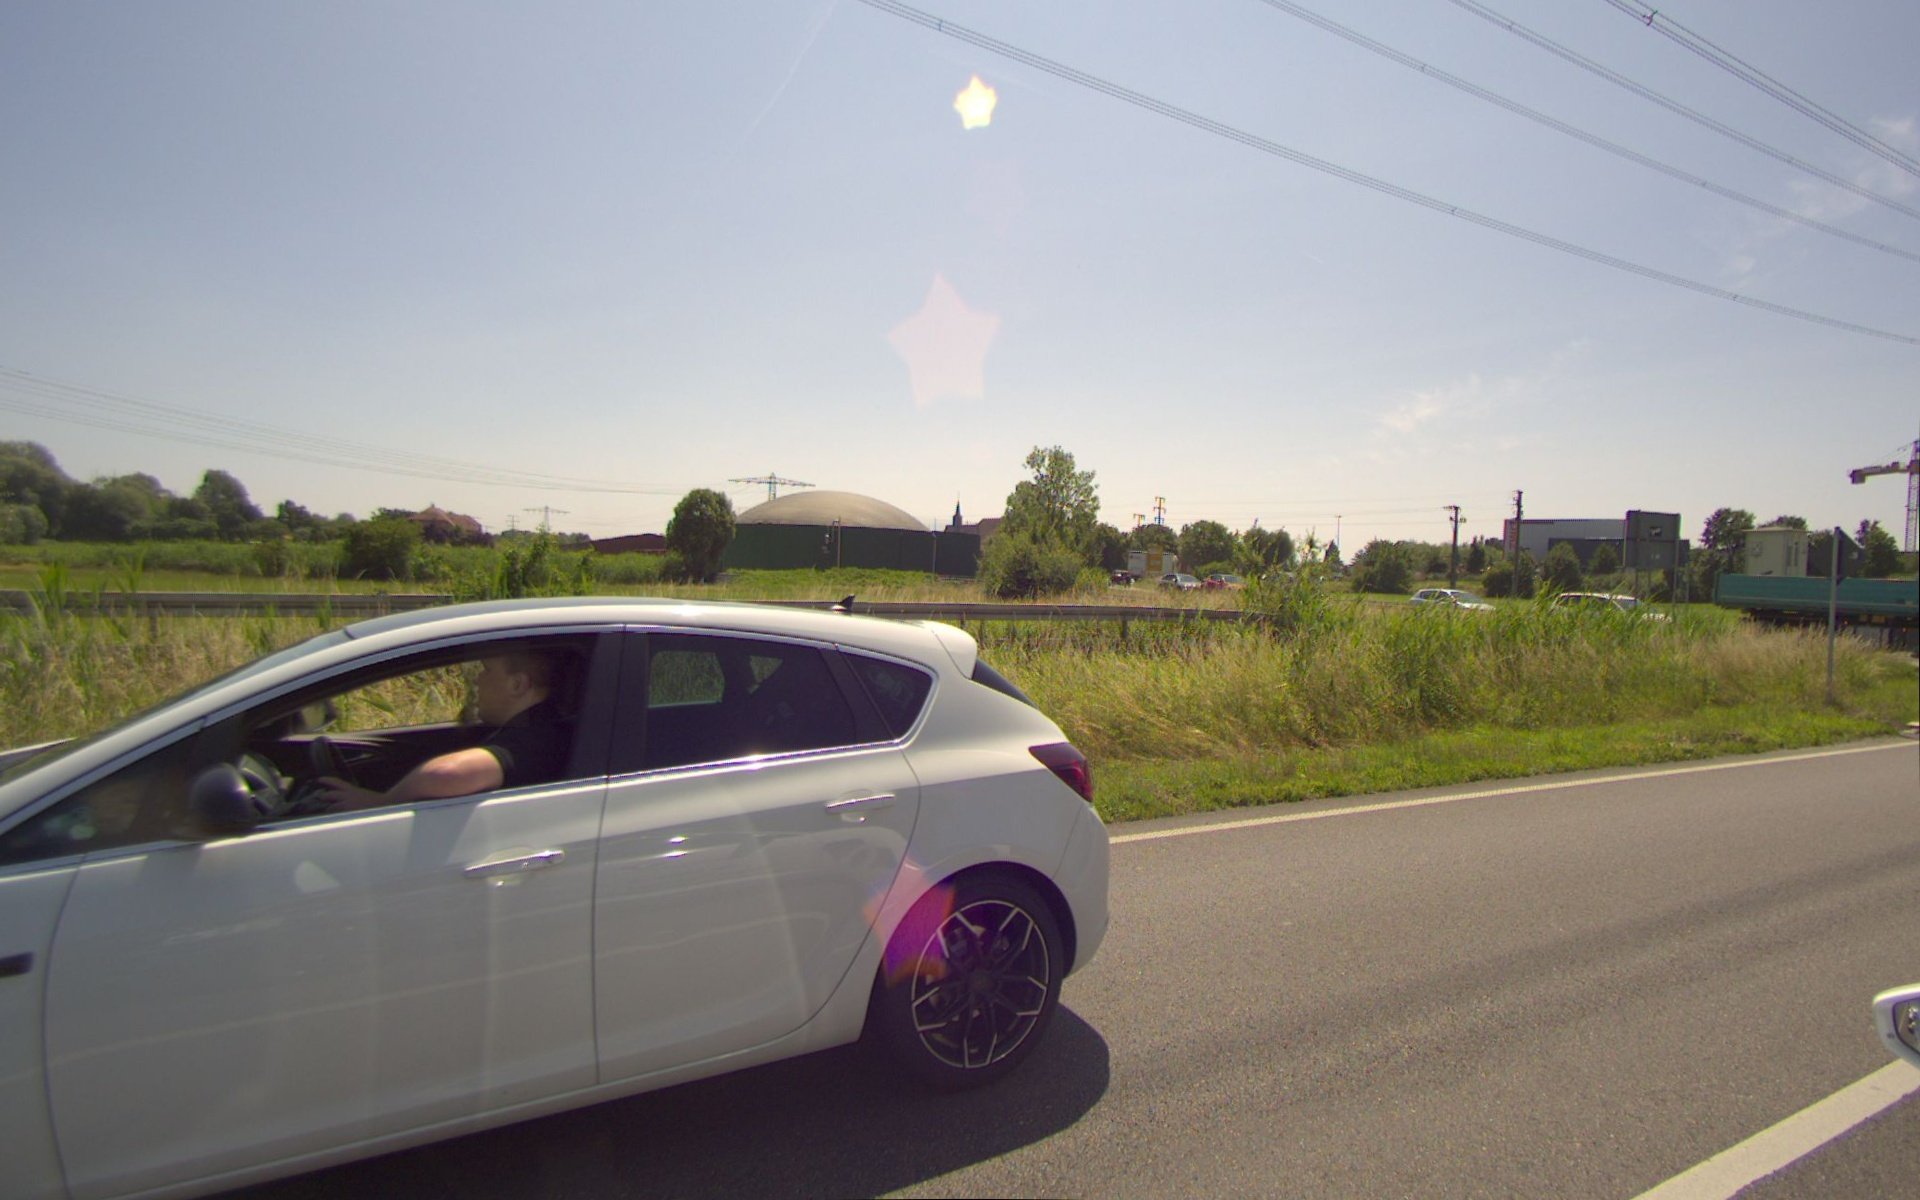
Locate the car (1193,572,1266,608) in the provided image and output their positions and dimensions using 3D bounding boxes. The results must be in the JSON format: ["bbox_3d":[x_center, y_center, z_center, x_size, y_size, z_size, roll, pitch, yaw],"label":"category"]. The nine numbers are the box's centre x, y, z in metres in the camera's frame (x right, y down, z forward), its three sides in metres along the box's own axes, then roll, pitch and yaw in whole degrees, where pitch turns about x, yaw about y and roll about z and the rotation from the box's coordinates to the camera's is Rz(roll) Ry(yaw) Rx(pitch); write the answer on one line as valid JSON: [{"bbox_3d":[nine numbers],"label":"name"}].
[{"bbox_3d":[15.441,-0.611,57.760,1.886,1.874,4.465,1,2,-18],"label":"car"}]

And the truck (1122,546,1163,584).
[{"bbox_3d":[24.976,-4.678,137.030,3.617,4.708,13.241,2,1,18],"label":"truck"}]

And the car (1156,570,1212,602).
[{"bbox_3d":[14.122,-0.903,63.425,1.633,1.927,3.984,1,1,-18],"label":"car"}]

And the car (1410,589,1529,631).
[{"bbox_3d":[20.676,0.361,40.994,1.691,1.490,4.428,1,1,-18],"label":"car"}]

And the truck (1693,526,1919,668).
[{"bbox_3d":[25.967,-0.130,28.572,2.465,3.785,7.876,1,3,-26],"label":"truck"}]

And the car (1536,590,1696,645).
[{"bbox_3d":[22.824,0.569,35.177,1.935,1.634,4.542,1,2,-14],"label":"car"}]

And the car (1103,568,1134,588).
[{"bbox_3d":[14.959,-2.049,94.764,1.962,1.701,3.997,1,0,-5],"label":"car"}]

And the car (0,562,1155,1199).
[{"bbox_3d":[-1.590,0.682,3.050,4.198,1.460,1.717,1,-1,-29],"label":"car"}]
